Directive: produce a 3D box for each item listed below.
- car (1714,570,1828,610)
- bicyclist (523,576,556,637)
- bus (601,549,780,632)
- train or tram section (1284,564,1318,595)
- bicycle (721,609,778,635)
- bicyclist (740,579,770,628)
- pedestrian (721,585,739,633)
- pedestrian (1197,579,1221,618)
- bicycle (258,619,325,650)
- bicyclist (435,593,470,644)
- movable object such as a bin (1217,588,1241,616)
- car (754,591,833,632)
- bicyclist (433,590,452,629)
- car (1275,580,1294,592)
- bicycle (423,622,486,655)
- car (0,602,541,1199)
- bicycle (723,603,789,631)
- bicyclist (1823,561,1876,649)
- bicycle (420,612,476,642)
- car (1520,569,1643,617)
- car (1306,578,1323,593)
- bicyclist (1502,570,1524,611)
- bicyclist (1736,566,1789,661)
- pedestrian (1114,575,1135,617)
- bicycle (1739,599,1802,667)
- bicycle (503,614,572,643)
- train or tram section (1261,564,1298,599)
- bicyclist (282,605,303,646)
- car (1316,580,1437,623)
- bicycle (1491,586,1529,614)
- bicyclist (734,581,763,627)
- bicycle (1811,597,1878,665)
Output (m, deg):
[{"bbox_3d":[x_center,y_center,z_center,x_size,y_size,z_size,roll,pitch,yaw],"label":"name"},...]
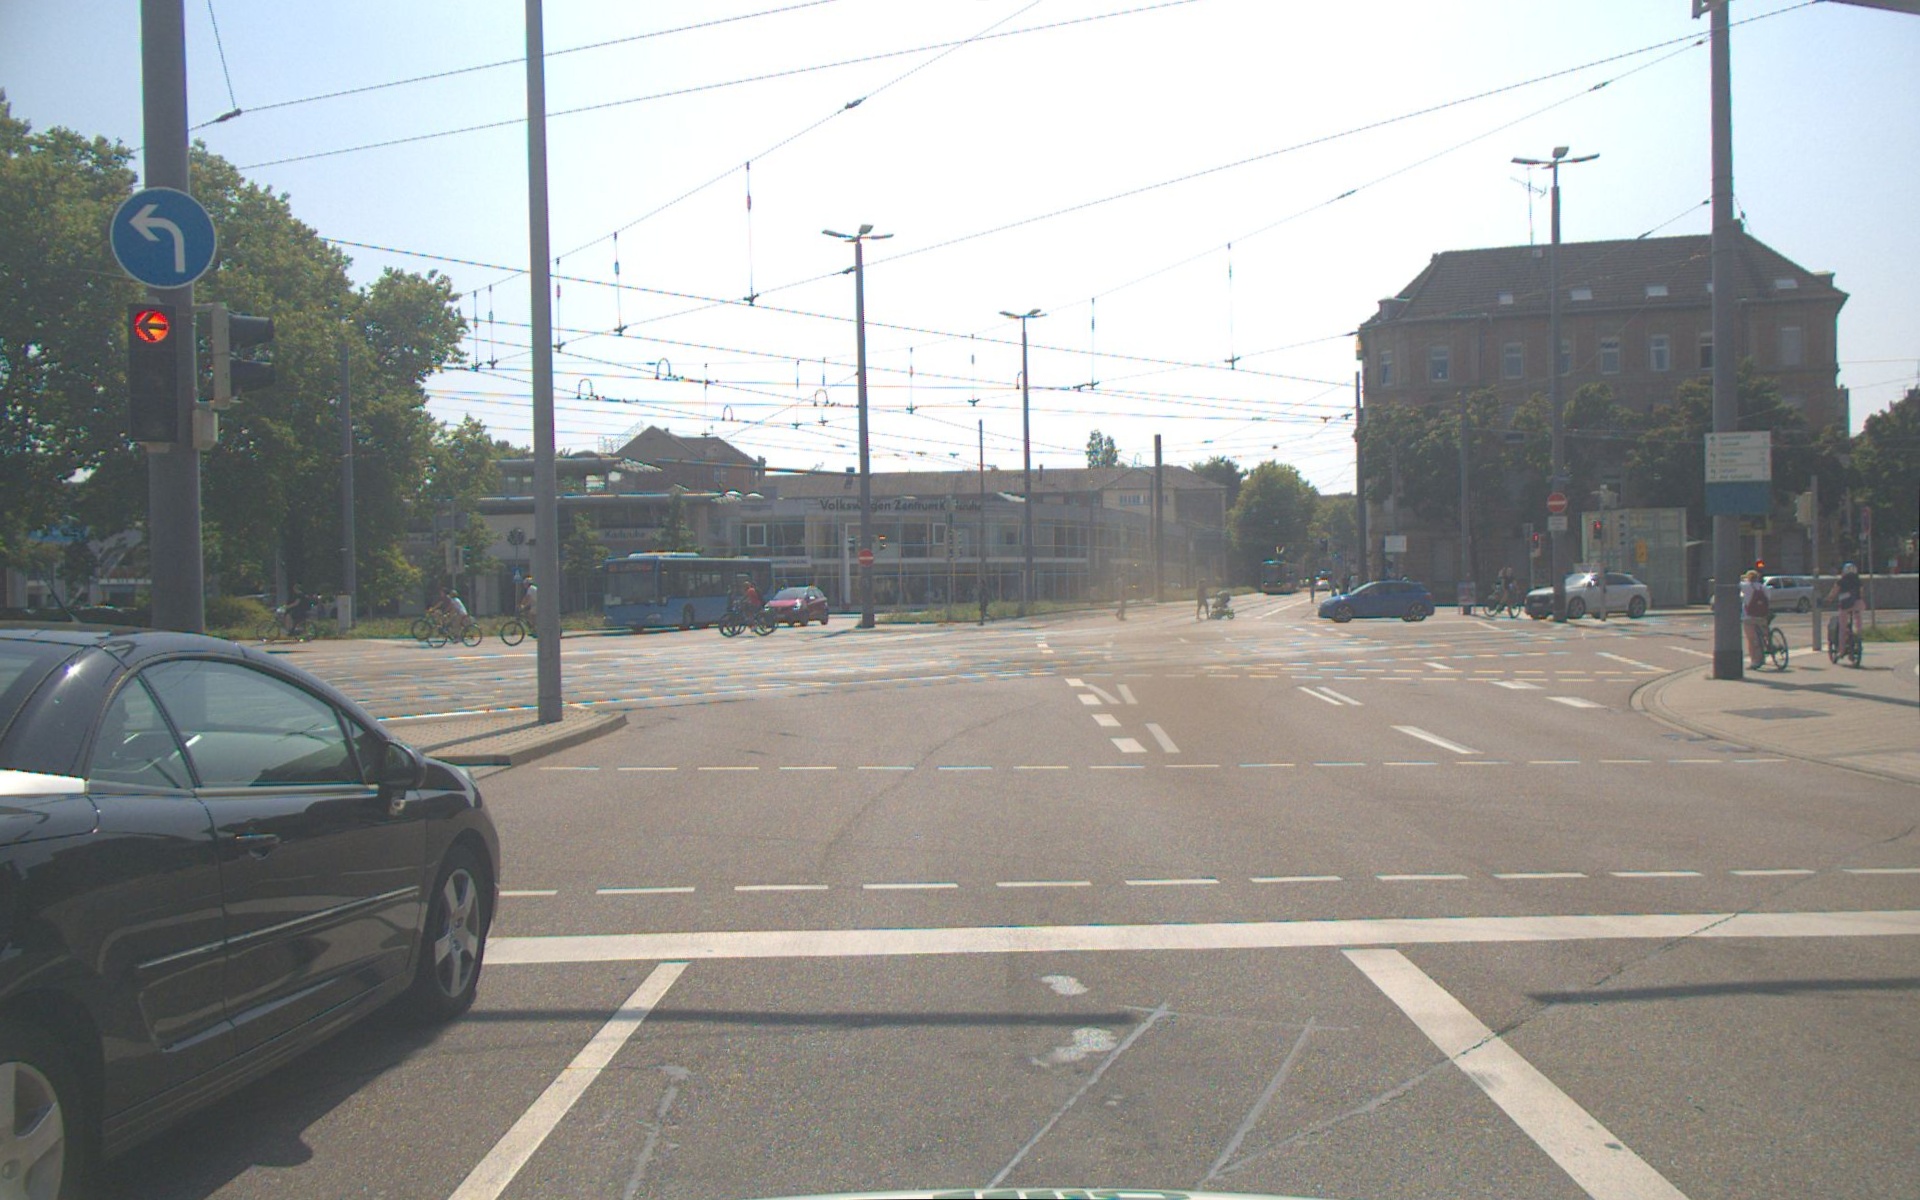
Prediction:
[{"bbox_3d":[30.810,-0.375,62.796,4.124,1.440,1.761,-1,1,-27],"label":"car"},{"bbox_3d":[-12.807,0.194,50.397,0.907,1.839,0.496,-1,0,-13],"label":"bicyclist"},{"bbox_3d":[-11.069,-0.427,69.683,2.508,3.136,12.031,-1,0,16],"label":"bus"},{"bbox_3d":[40.663,-2.429,197.038,2.534,3.578,12.979,-1,0,18],"label":"train or tram section"},{"bbox_3d":[-7.068,0.726,55.493,1.828,0.816,0.604,-1,0,-19],"label":"bicycle"},{"bbox_3d":[-6.425,0.106,51.786,0.856,1.509,0.496,-1,0,-13],"label":"bicyclist"},{"bbox_3d":[-8.311,0.311,59.861,0.544,1.713,0.452,-1,0,-19],"label":"pedestrian"},{"bbox_3d":[10.028,-0.063,66.583,0.834,1.572,0.528,-1,0,-9],"label":"pedestrian"},{"bbox_3d":[-22.191,1.139,54.904,1.997,0.958,0.466,-1,0,-13],"label":"bicycle"},{"bbox_3d":[-15.754,0.573,51.349,0.892,1.534,0.558,-1,0,-6],"label":"bicyclist"},{"bbox_3d":[10.841,0.077,66.707,0.798,1.096,0.510,-1,0,-11],"label":"movable object such as a bin"},{"bbox_3d":[-6.665,0.440,66.592,1.713,1.579,4.002,-1,0,17],"label":"car"},{"bbox_3d":[-17.698,0.316,56.595,0.535,1.316,0.557,-1,0,-12],"label":"bicyclist"},{"bbox_3d":[42.013,-1.795,214.175,1.760,1.534,4.001,-1,0,19],"label":"car"},{"bbox_3d":[-15.688,1.184,51.352,1.779,0.958,0.567,-1,0,-7],"label":"bicycle"},{"bbox_3d":[-2.594,0.739,4.538,1.728,1.412,3.783,1,0,3],"label":"car"},{"bbox_3d":[-6.386,0.527,51.815,2.013,0.816,0.478,-1,0,-13],"label":"bicycle"},{"bbox_3d":[14.606,0.072,27.177,0.519,1.417,0.894,-1,0,11],"label":"bicyclist"},{"bbox_3d":[-17.545,0.916,56.708,1.783,0.958,0.414,-1,0,-13],"label":"bicycle"},{"bbox_3d":[22.291,-0.255,59.277,4.272,1.646,1.739,-1,0,-28],"label":"car"},{"bbox_3d":[45.482,-1.857,212.199,1.781,1.841,4.002,1,0,17],"label":"car"},{"bbox_3d":[21.342,-0.375,63.796,0.603,1.555,0.517,-1,0,-25],"label":"bicyclist"},{"bbox_3d":[13.328,0.216,27.473,0.614,1.544,0.712,-1,0,11],"label":"bicyclist"},{"bbox_3d":[6.543,-0.157,65.792,0.686,1.631,0.572,-1,0,-8],"label":"pedestrian"},{"bbox_3d":[13.334,0.527,27.237,0.525,1.073,1.655,-1,0,12],"label":"bicycle"},{"bbox_3d":[-12.868,0.872,50.404,2.013,0.816,0.478,-1,0,-13],"label":"bicycle"},{"bbox_3d":[34.117,-1.978,176.449,2.534,3.578,10.904,-1,0,18],"label":"train or tram section"},{"bbox_3d":[-22.132,0.839,54.867,0.535,1.316,0.557,-1,0,-12],"label":"bicyclist"},{"bbox_3d":[14.632,0.035,58.199,3.903,1.418,1.597,-1,0,4],"label":"car"},{"bbox_3d":[21.268,-0.010,63.970,0.462,1.073,1.643,-1,0,-21],"label":"bicycle"},{"bbox_3d":[-7.099,0.131,55.483,0.857,1.501,0.543,-1,0,-19],"label":"bicyclist"},{"bbox_3d":[14.714,0.499,27.545,0.525,1.073,1.655,-1,0,12],"label":"bicycle"}]
